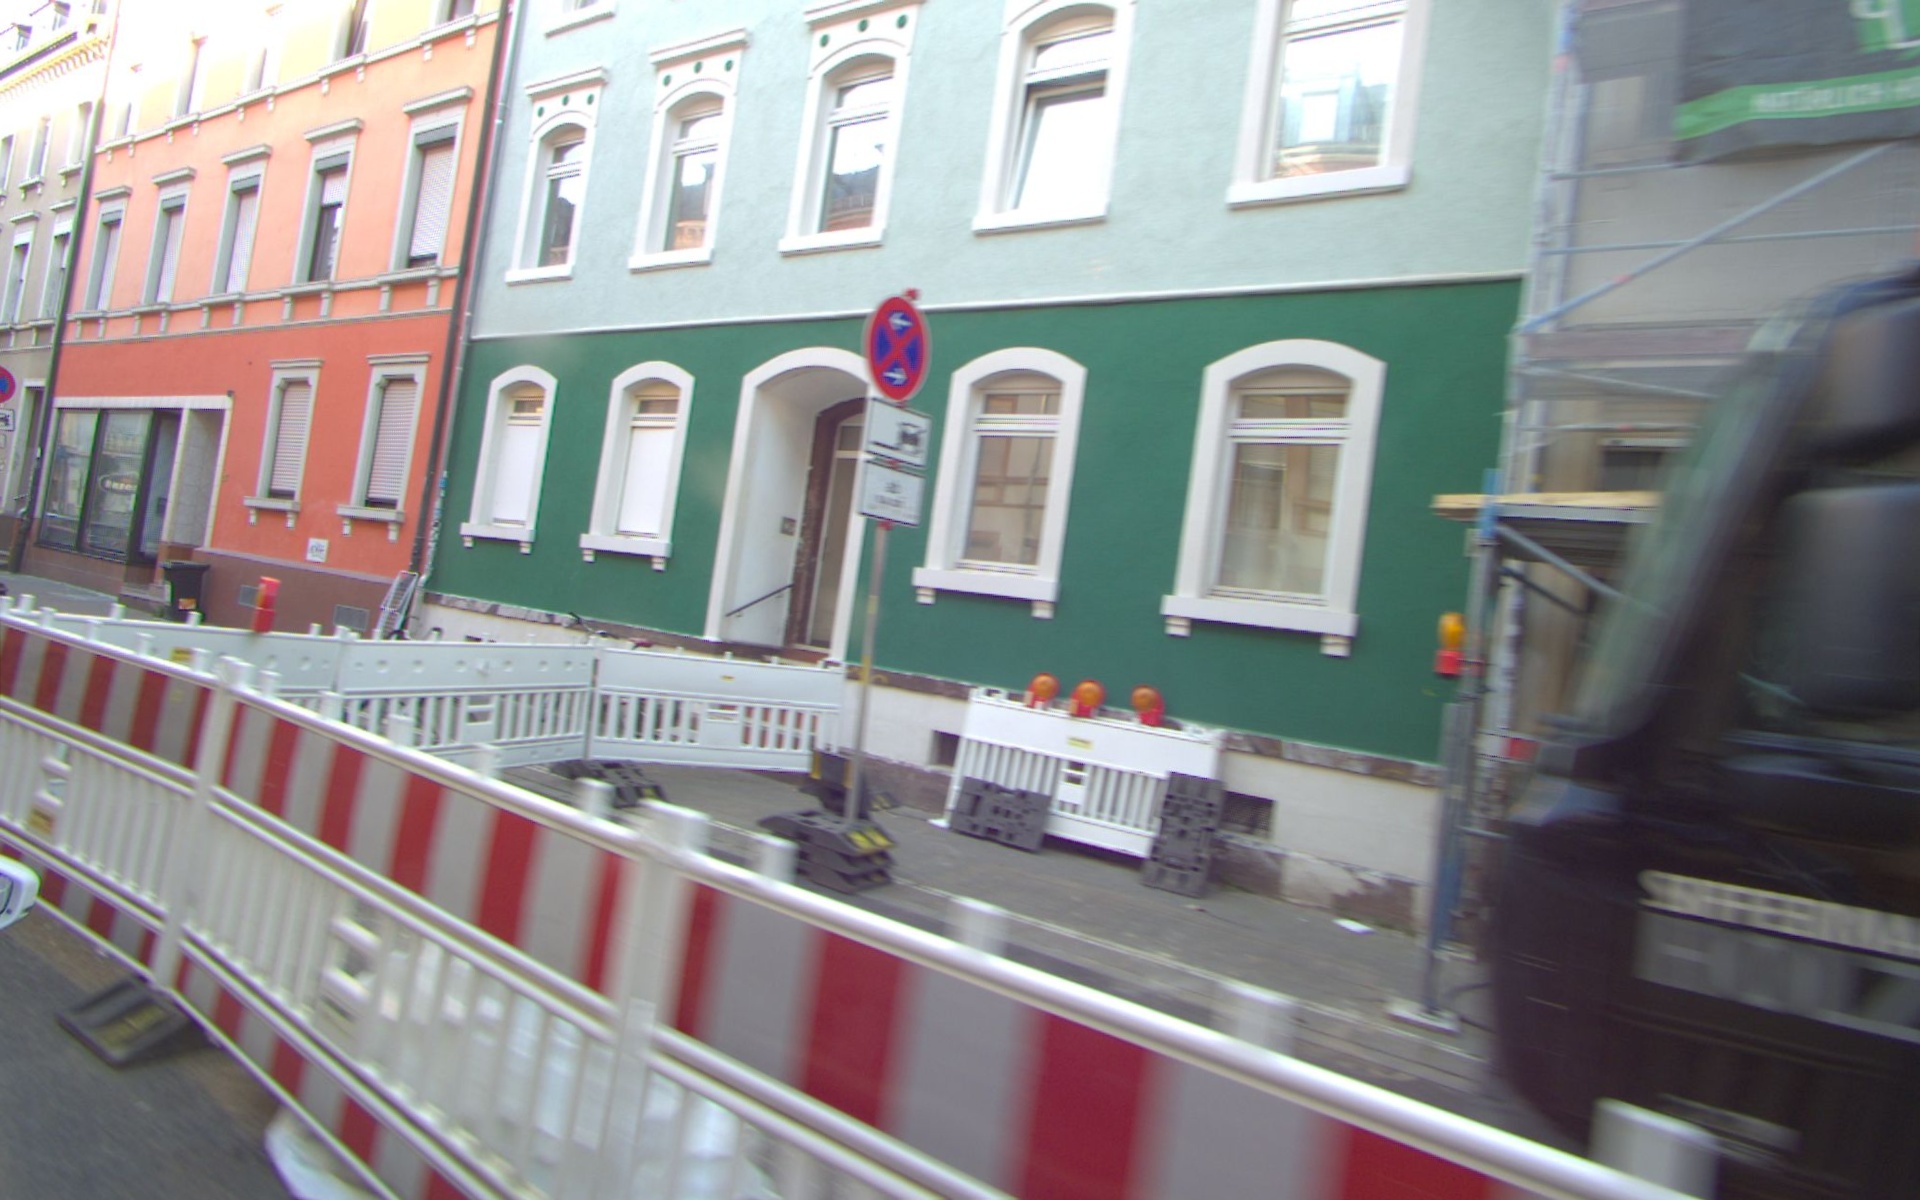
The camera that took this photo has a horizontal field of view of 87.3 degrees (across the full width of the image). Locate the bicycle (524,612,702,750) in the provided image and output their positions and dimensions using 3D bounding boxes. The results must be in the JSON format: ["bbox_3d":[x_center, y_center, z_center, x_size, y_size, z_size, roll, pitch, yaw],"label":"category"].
[{"bbox_3d":[-3.582,0.794,10.330,1.804,1.143,0.655,6,1,32],"label":"bicycle"}]

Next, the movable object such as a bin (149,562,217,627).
[{"bbox_3d":[-12.057,-0.086,15.614,0.570,0.917,0.598,6,0,30],"label":"movable object such as a bin"}]

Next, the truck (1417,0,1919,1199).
[{"bbox_3d":[4.678,0.760,1.042,7.271,2.843,2.669,6,-4,32],"label":"truck"}]

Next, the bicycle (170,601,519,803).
[{"bbox_3d":[-4.073,0.718,6.863,0.632,1.121,1.858,7,-4,25],"label":"bicycle"}]
